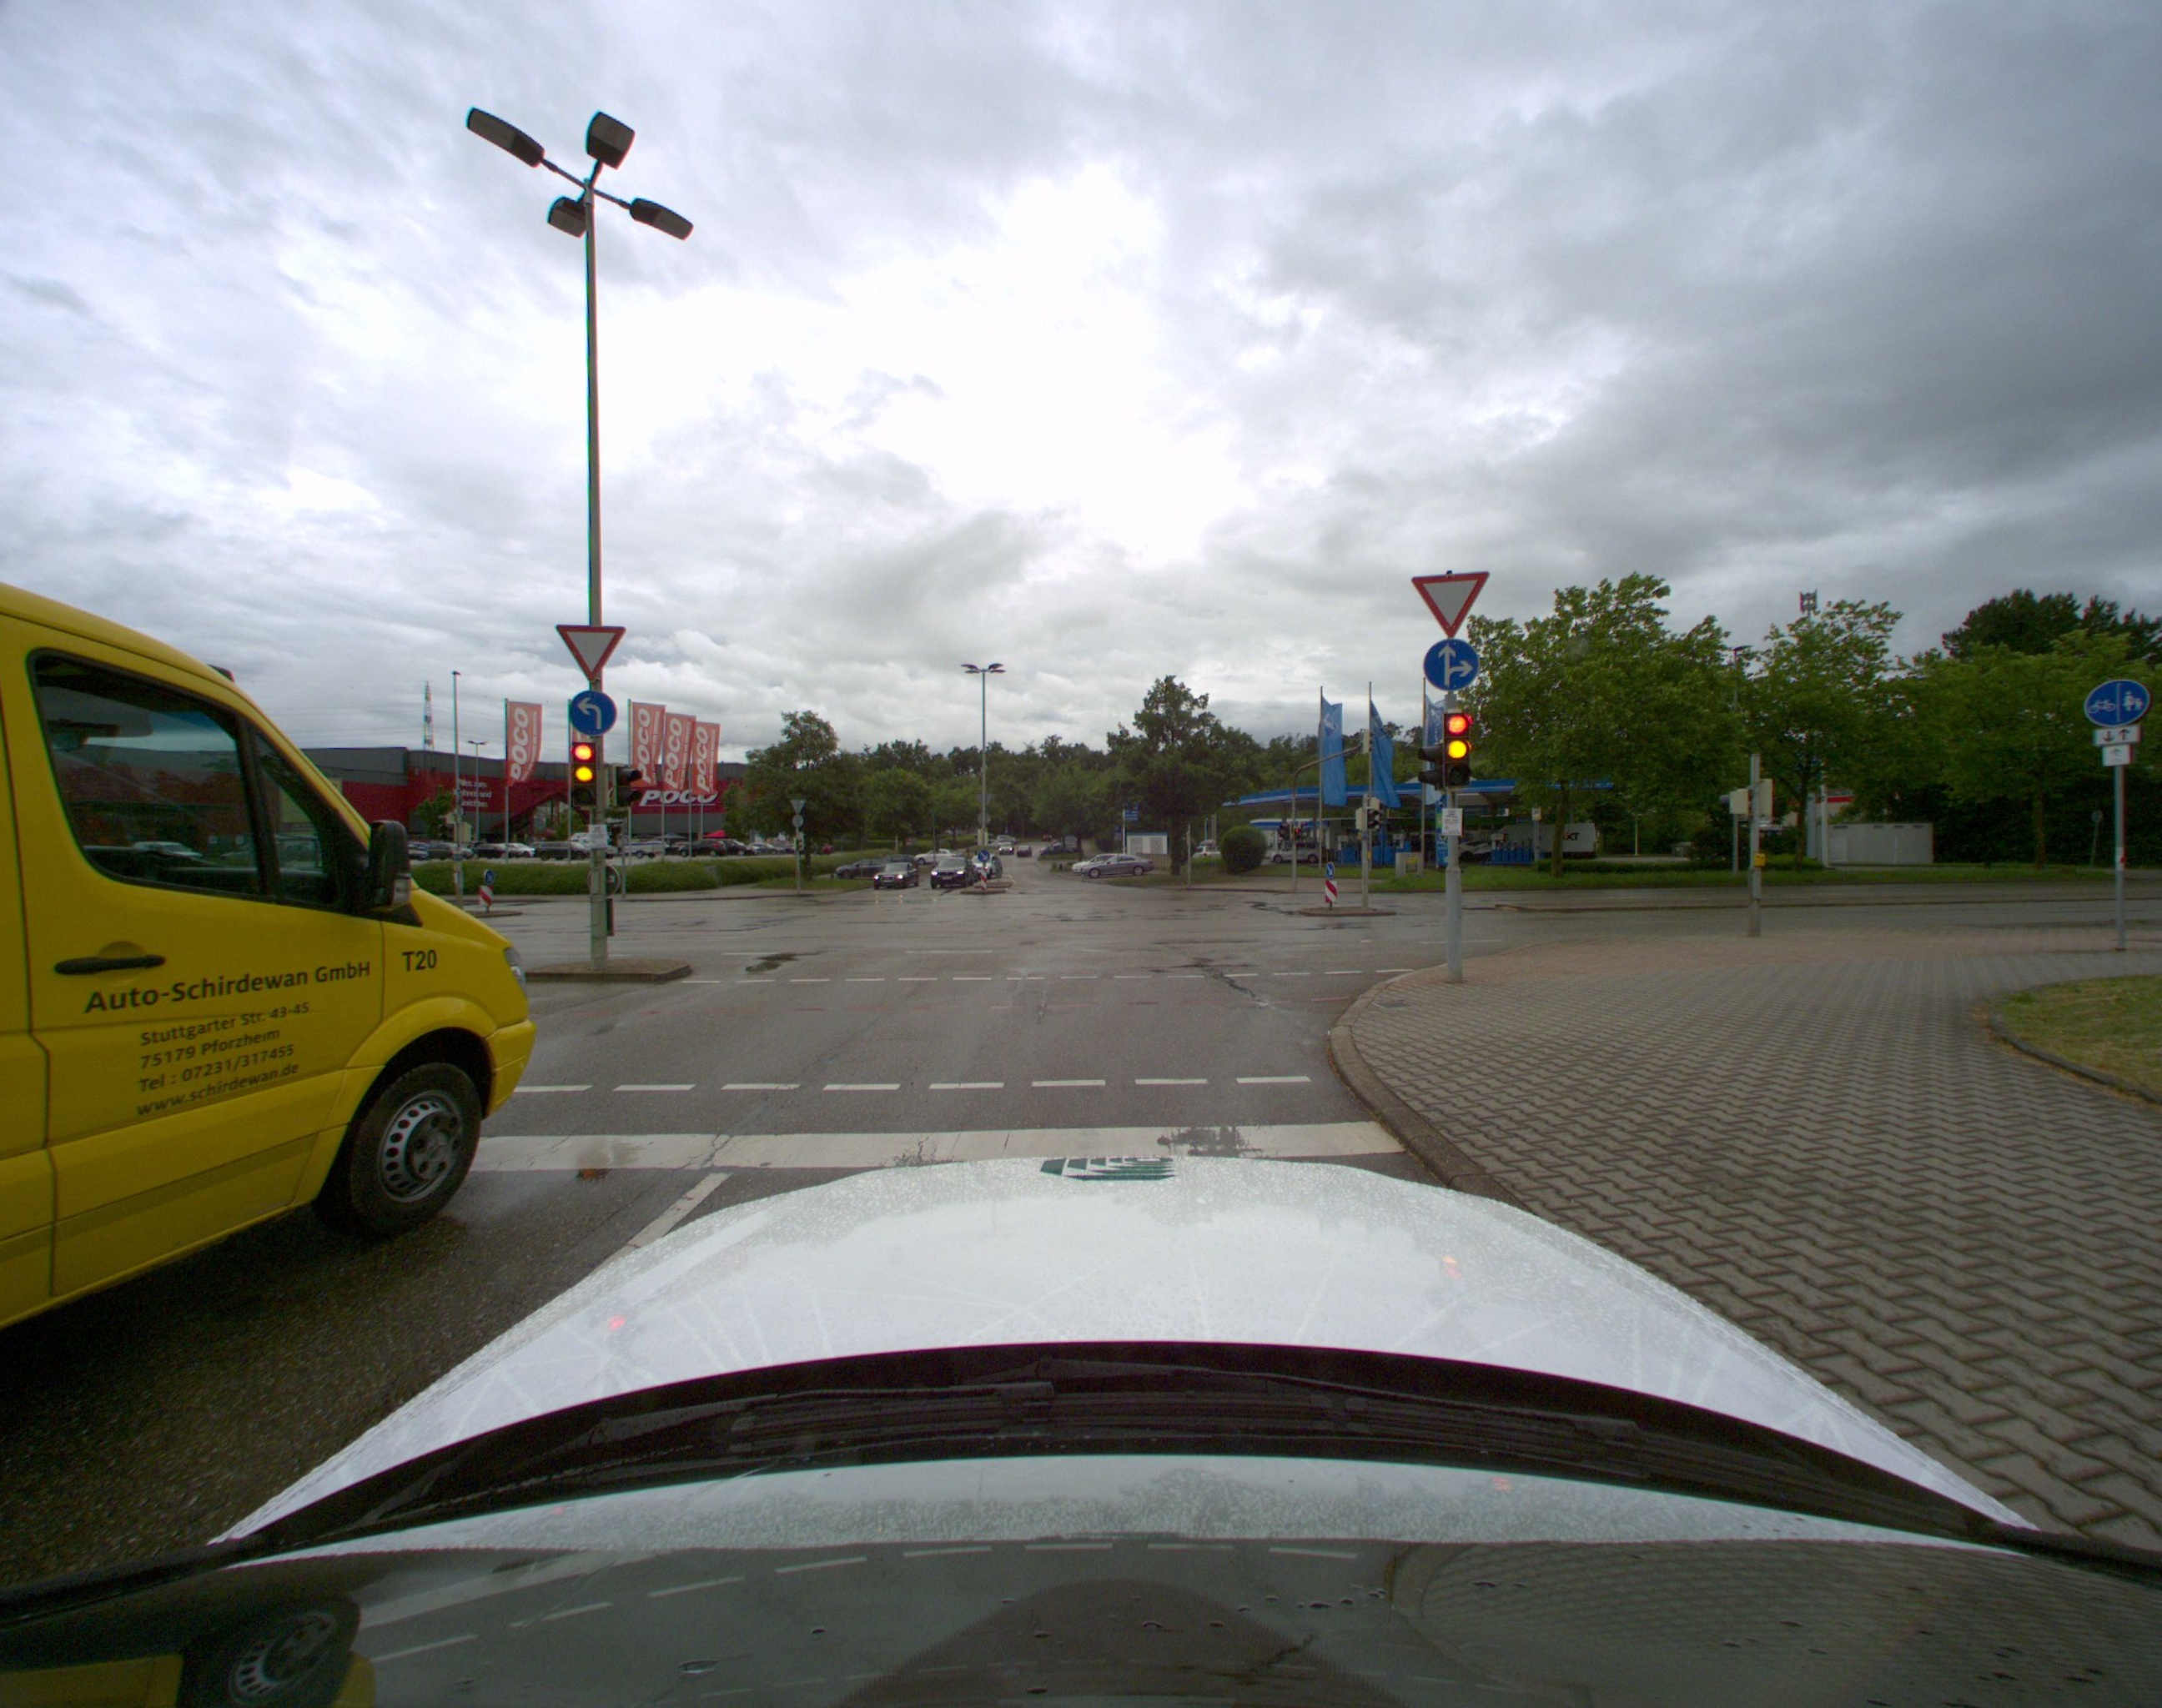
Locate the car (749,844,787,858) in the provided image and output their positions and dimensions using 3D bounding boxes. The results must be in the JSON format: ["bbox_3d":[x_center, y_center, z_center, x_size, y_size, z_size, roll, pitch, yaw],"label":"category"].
[{"bbox_3d":[-37.038,-0.342,96.463,3.798,1.645,1.674,-1,-1,3],"label":"car"}]

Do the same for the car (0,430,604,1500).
[{"bbox_3d":[-3.619,0.266,1.735,2.232,2.474,5.013,-1,-1,0],"label":"car"}]

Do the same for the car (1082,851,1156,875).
[{"bbox_3d":[2.588,0.599,56.575,4.878,1.549,1.996,-1,-1,-5],"label":"car"}]

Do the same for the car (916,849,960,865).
[{"bbox_3d":[-14.701,0.293,83.750,4.260,1.609,1.684,-1,-1,-2],"label":"car"}]

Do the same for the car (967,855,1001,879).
[{"bbox_3d":[-6.651,0.849,56.007,1.890,1.553,3.998,-1,0,-1],"label":"car"}]

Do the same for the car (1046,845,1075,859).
[{"bbox_3d":[-2.532,-0.271,97.937,3.452,1.654,1.614,0,-1,-3],"label":"car"}]

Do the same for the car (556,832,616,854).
[{"bbox_3d":[-39.402,-0.853,64.870,3.798,1.645,1.634,-1,-1,3],"label":"car"}]

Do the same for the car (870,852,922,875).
[{"bbox_3d":[-14.162,0.738,62.545,3.643,1.724,1.682,-1,-1,-5],"label":"car"}]

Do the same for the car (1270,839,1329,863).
[{"bbox_3d":[17.412,-0.206,64.855,4.075,1.808,1.958,-1,-1,32],"label":"car"}]

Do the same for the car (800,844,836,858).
[{"bbox_3d":[-31.928,-0.357,98.869,3.798,1.645,1.674,-1,-1,3],"label":"car"}]

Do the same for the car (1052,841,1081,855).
[{"bbox_3d":[-1.842,-0.732,104.569,3.690,1.750,1.695,0,-1,-4],"label":"car"}]

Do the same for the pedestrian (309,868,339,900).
[{"bbox_3d":[-34.347,1.371,36.952,0.637,1.431,0.781,-1,-1,-1],"label":"pedestrian"}]

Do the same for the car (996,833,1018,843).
[{"bbox_3d":[-14.296,-3.055,157.212,3.974,1.794,1.856,-1,-1,0],"label":"car"}]

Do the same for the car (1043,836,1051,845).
[{"bbox_3d":[-7.607,-3.068,184.211,1.800,1.739,3.996,-1,0,-3],"label":"car"}]

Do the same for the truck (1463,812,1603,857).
[{"bbox_3d":[29.132,-1.187,52.842,7.774,2.675,2.168,-1,-1,27],"label":"truck"}]

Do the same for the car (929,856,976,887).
[{"bbox_3d":[-6.941,0.931,44.350,1.890,1.553,4.589,-1,0,-1],"label":"car"}]

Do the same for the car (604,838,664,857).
[{"bbox_3d":[-35.475,-0.503,64.674,3.880,1.381,1.674,-1,-1,3],"label":"car"}]

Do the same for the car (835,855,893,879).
[{"bbox_3d":[-15.140,0.887,56.921,3.643,1.553,1.682,-1,-1,-5],"label":"car"}]

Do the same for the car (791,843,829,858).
[{"bbox_3d":[-31.966,-0.379,96.082,3.798,1.645,1.674,-1,-1,3],"label":"car"}]

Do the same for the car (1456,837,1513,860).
[{"bbox_3d":[28.961,-0.391,58.463,3.517,1.582,1.700,1,0,33],"label":"car"}]

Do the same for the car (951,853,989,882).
[{"bbox_3d":[-6.826,0.827,50.401,1.791,1.633,4.548,-1,-1,-2],"label":"car"}]

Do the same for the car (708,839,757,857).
[{"bbox_3d":[-32.833,-0.530,76.805,3.798,1.645,1.674,-1,-1,3],"label":"car"}]

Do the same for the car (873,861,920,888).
[{"bbox_3d":[-10.264,1.107,45.610,1.778,1.404,3.998,-1,0,-1],"label":"car"}]

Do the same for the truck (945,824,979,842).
[{"bbox_3d":[-27.849,-4.905,190.884,7.332,3.861,2.781,-1,-1,4],"label":"truck"}]

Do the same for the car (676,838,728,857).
[{"bbox_3d":[-33.402,-0.567,71.818,3.798,1.645,1.674,-1,-1,3],"label":"car"}]

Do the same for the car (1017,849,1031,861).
[{"bbox_3d":[-7.245,0.109,103.712,1.803,1.482,3.746,-1,0,-3],"label":"car"}]

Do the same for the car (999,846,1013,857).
[{"bbox_3d":[-10.240,-0.310,111.121,1.693,1.456,3.670,-1,-1,-2],"label":"car"}]

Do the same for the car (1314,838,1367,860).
[{"bbox_3d":[21.700,-0.407,68.093,3.949,1.728,1.806,-2,-1,29],"label":"car"}]

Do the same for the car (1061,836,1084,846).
[{"bbox_3d":[-1.578,-2.309,144.627,3.979,1.739,1.808,-1,-1,-4],"label":"car"}]

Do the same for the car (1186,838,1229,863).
[{"bbox_3d":[9.310,-0.227,60.345,1.811,1.797,3.681,0,-1,-15],"label":"car"}]

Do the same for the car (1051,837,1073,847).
[{"bbox_3d":[-3.588,-2.226,152.109,3.979,1.739,1.808,-1,-1,-4],"label":"car"}]

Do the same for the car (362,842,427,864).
[{"bbox_3d":[-55.220,-0.067,65.543,3.933,1.645,1.674,-1,-1,3],"label":"car"}]

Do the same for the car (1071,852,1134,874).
[{"bbox_3d":[1.587,0.653,61.821,4.565,1.589,1.926,-1,-1,-5],"label":"car"}]

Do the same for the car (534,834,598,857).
[{"bbox_3d":[-39.100,-0.603,61.895,3.798,1.645,1.674,-1,-1,3],"label":"car"}]

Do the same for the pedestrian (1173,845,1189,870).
[{"bbox_3d":[6.739,0.260,54.949,0.808,1.661,0.884,-1,-1,-9],"label":"pedestrian"}]

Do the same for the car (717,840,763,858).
[{"bbox_3d":[-33.298,-0.504,79.535,3.798,1.645,1.674,-1,-1,3],"label":"car"}]
